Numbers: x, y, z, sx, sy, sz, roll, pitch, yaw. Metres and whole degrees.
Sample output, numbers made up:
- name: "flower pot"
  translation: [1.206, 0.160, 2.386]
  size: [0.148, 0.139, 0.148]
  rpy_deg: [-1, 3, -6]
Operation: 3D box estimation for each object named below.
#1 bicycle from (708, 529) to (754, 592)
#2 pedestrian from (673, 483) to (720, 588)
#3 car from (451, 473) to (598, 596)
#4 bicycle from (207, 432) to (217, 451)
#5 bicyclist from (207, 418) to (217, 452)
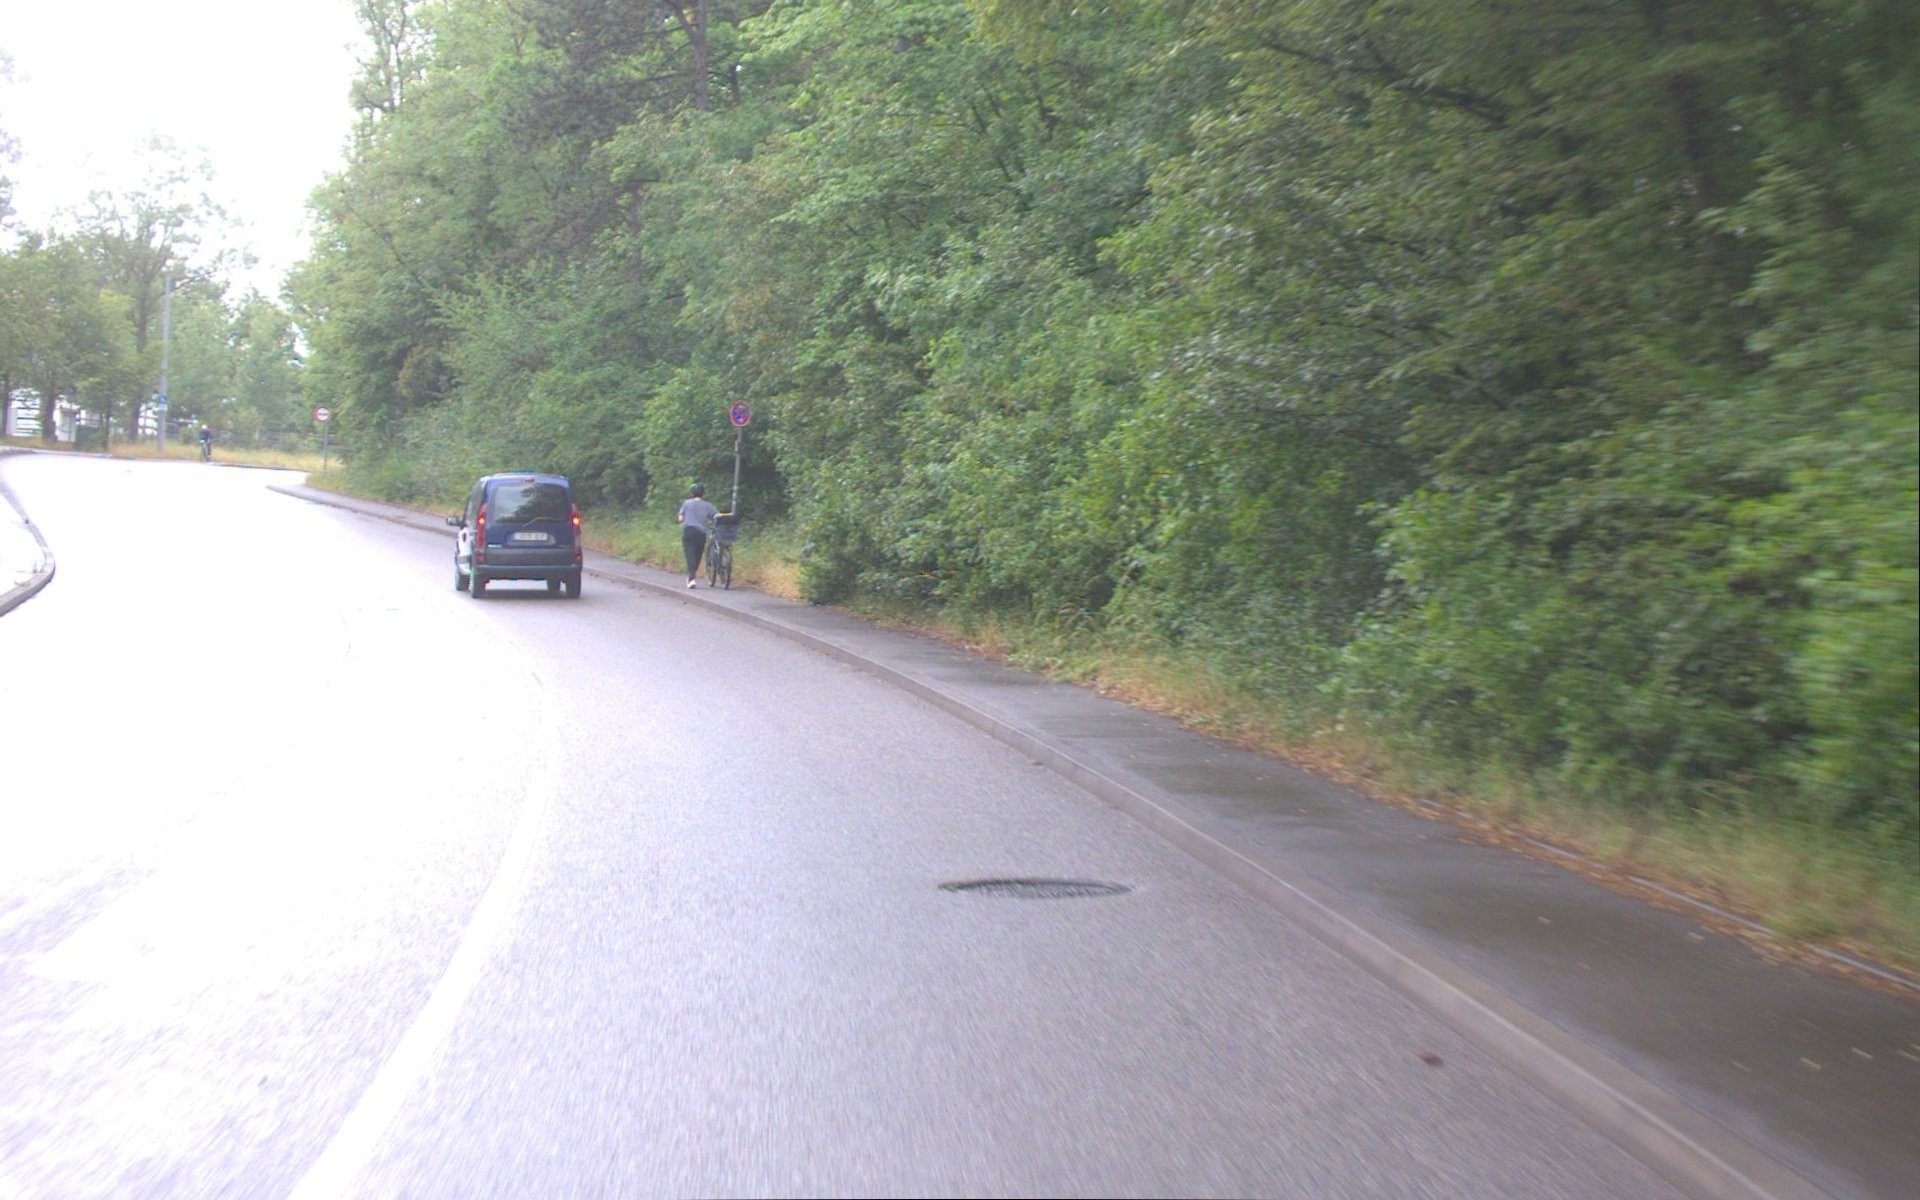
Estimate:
- name: "bicycle"
  translation: [-3.445, -0.600, 51.650]
  size: [0.355, 0.846, 1.744]
  rpy_deg: [-2, 4, -14]
- name: "pedestrian"
  translation: [-3.994, -0.976, 52.126]
  size: [0.564, 1.571, 0.770]
  rpy_deg: [-1, 0, -14]
- name: "car"
  translation: [-6.631, -0.992, 52.022]
  size: [1.826, 1.787, 4.001]
  rpy_deg: [0, 1, -13]
- name: "bicycle"
  translation: [-35.542, -7.517, 163.346]
  size: [0.355, 0.846, 2.094]
  rpy_deg: [0, 4, -14]
- name: "bicyclist"
  translation: [-35.523, -7.847, 163.293]
  size: [0.336, 1.568, 1.299]
  rpy_deg: [3, 4, -14]
